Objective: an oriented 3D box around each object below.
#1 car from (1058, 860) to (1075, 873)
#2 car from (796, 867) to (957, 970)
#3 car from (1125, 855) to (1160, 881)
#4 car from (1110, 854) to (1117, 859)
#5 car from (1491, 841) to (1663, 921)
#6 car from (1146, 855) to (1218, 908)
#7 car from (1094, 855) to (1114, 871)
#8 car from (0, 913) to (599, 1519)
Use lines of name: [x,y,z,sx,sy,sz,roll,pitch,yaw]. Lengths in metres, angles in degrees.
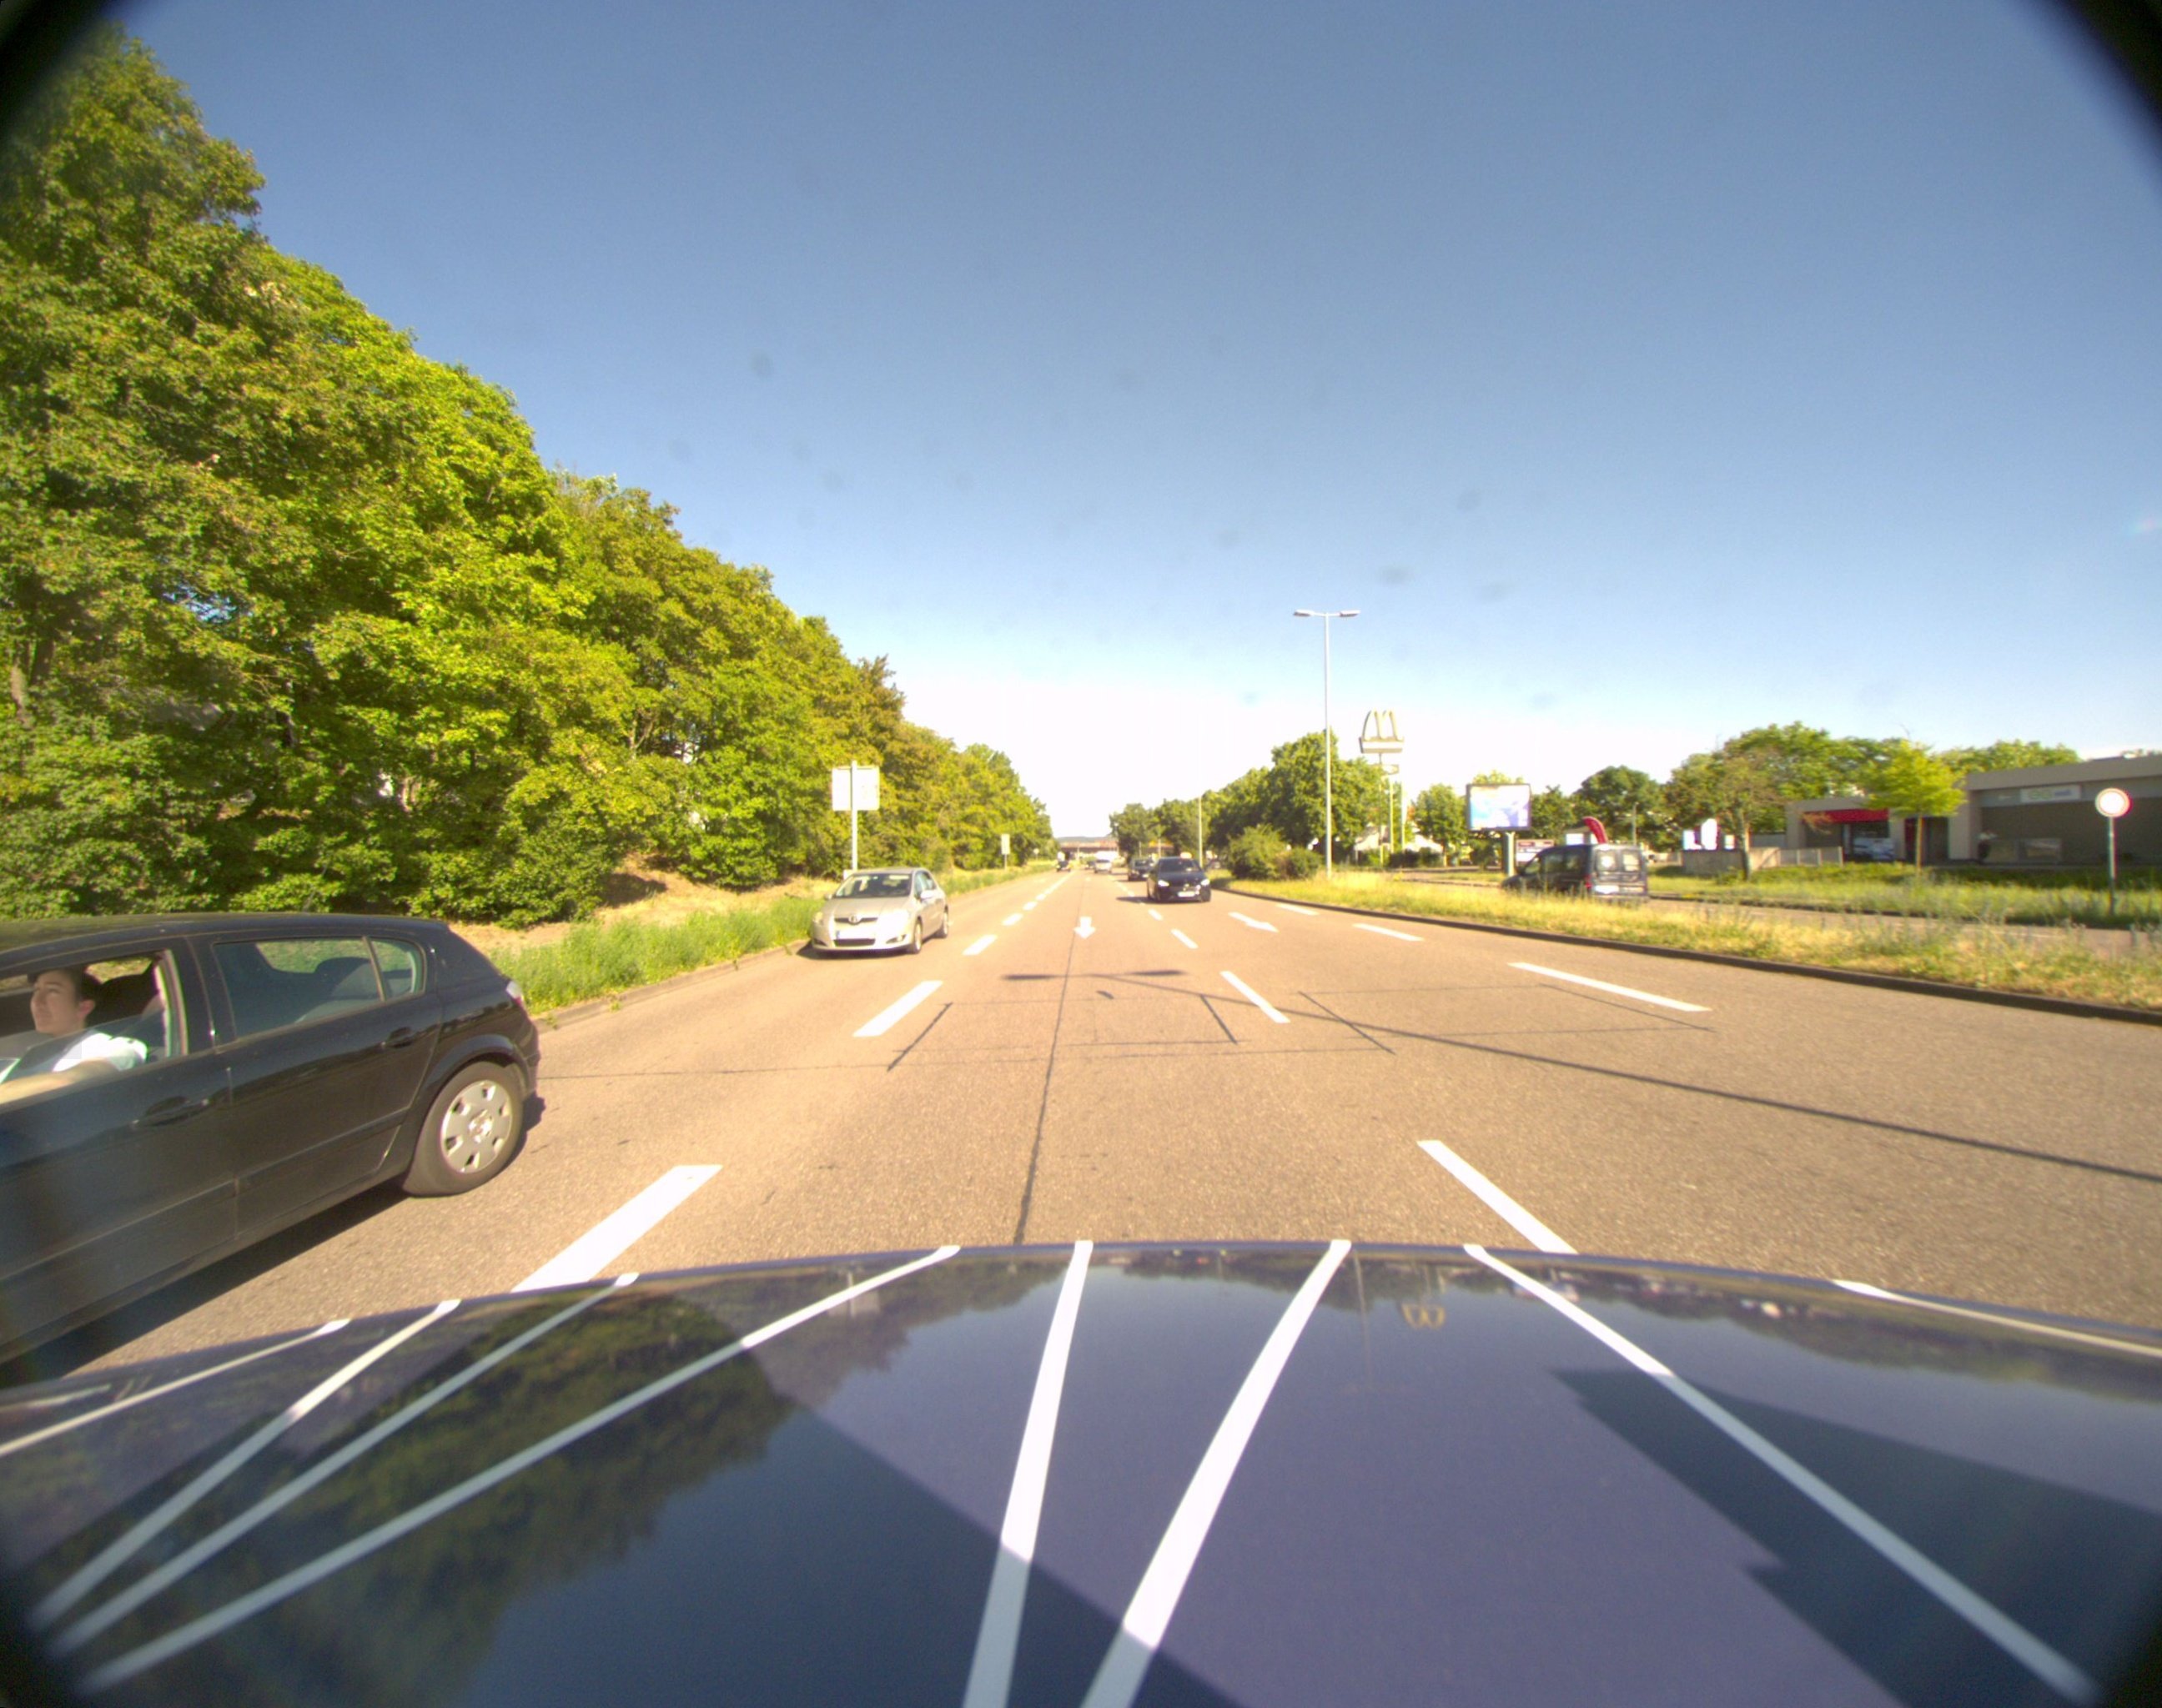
car: [-1.924,1.616,99.384,2.036,1.601,4.098,-2,0,1]
car: [-3.609,1.065,14.196,1.788,1.528,4.108,-2,0,1]
car: [3.946,0.854,49.319,1.953,1.501,4.462,-2,1,1]
car: [8.810,0.722,207.344,1.998,1.433,4.000,-1,0,2]
car: [12.818,0.611,19.997,1.682,1.837,4.294,-2,1,0]
car: [3.338,0.867,25.916,1.788,1.592,4.583,-1,0,0]
car: [2.419,0.969,81.663,2.025,1.601,4.098,-2,0,1]
car: [-3.812,1.112,2.364,1.738,1.433,4.371,-2,0,1]
